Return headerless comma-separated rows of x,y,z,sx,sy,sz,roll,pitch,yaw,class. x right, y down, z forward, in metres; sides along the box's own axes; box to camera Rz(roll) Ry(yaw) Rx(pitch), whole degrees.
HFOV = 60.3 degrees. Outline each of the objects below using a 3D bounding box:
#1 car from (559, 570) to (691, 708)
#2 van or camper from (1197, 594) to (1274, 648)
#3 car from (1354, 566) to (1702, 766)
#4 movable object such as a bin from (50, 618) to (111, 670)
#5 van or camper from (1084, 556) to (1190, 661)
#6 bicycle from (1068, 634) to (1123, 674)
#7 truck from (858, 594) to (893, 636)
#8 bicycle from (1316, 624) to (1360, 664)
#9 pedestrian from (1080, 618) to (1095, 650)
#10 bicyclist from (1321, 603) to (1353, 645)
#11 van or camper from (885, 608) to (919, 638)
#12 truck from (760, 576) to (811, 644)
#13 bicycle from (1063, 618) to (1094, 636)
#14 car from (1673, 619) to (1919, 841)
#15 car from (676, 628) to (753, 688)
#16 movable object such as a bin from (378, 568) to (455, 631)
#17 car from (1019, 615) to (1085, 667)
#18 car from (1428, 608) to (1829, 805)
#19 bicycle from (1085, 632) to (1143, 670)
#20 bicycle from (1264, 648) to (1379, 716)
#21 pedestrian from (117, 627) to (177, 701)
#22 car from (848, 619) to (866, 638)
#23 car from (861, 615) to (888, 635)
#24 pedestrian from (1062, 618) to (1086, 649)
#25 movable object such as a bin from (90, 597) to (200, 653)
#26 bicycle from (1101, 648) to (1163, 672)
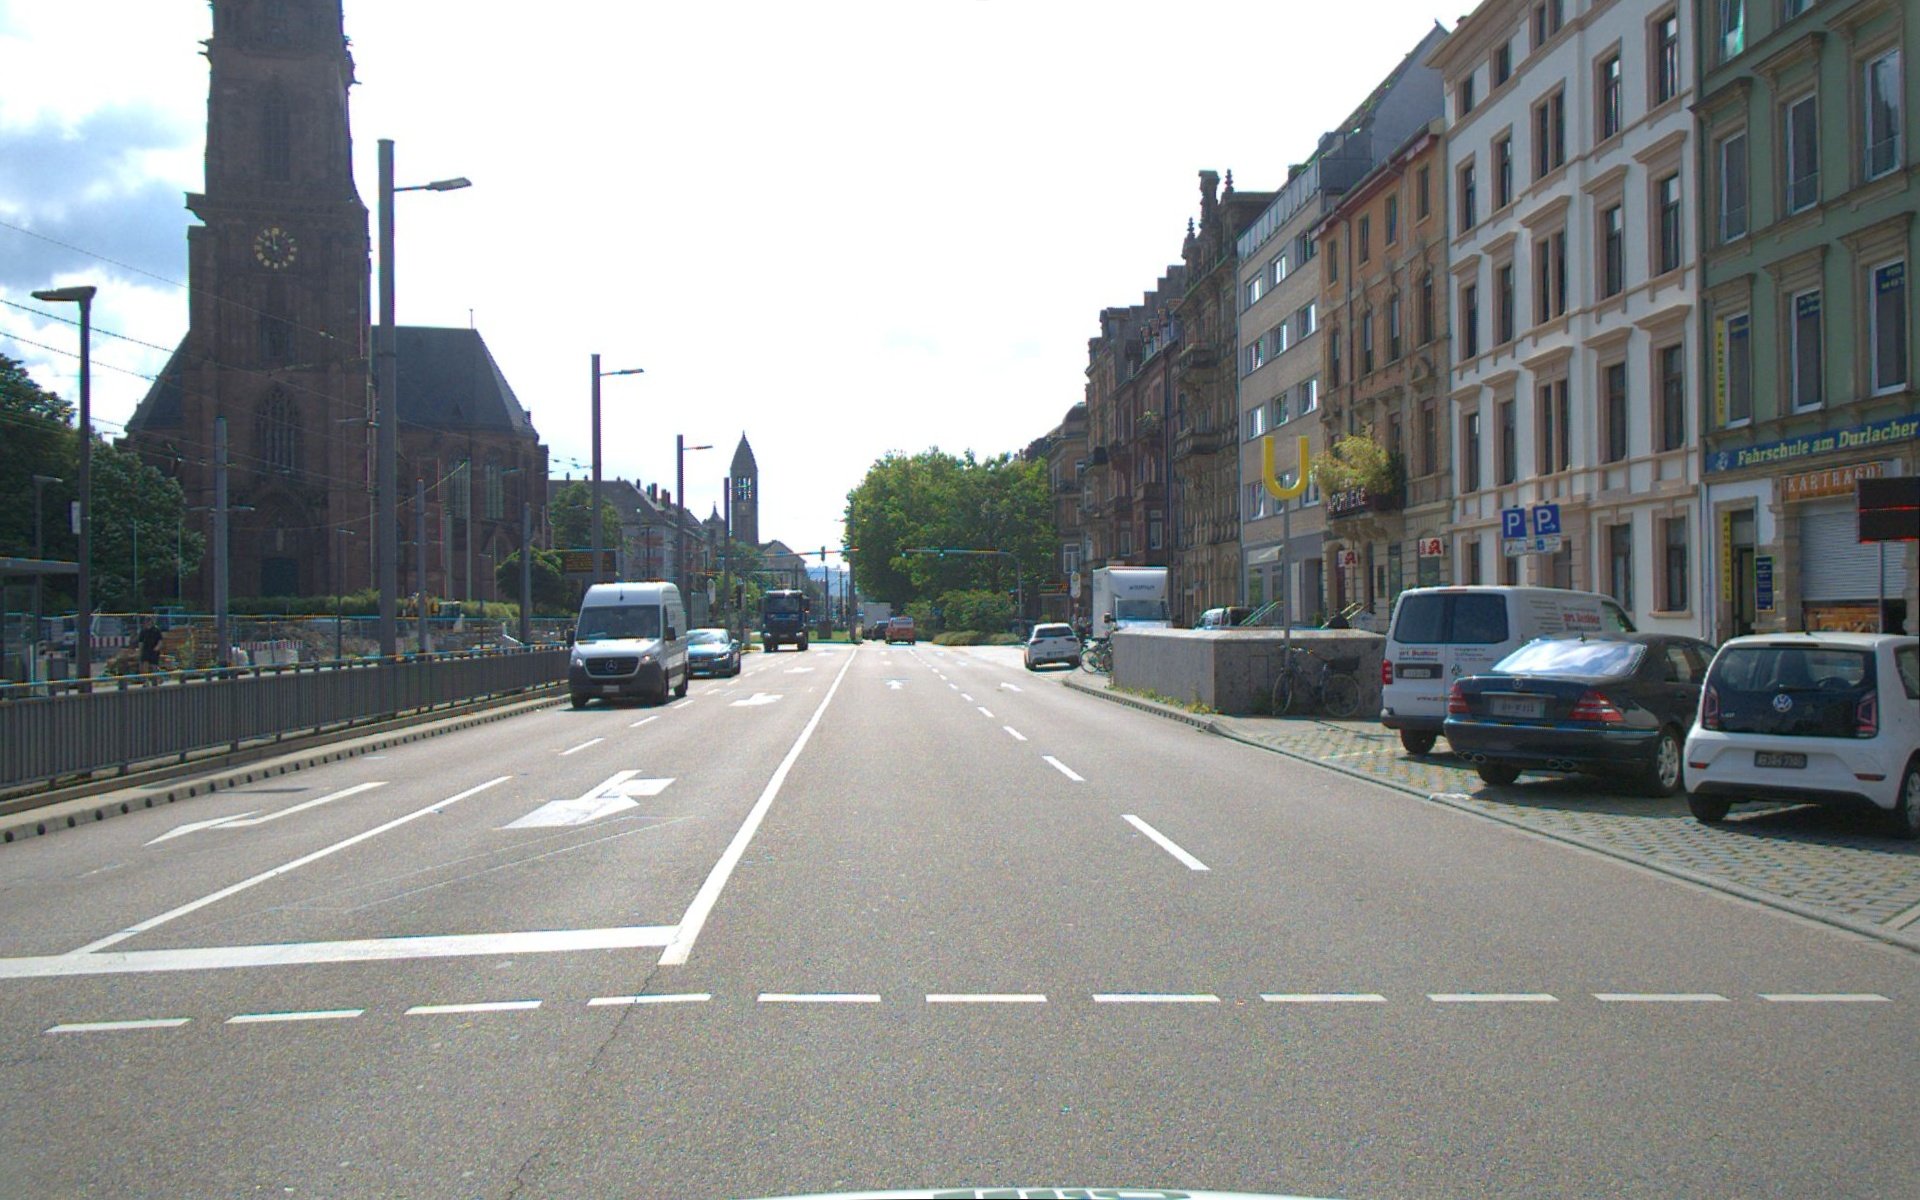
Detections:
-7.196,0.734,36.111,1.954,2.667,5.577,-2,1,-3,car
11.353,0.842,68.448,1.954,1.937,5.295,-3,1,-3,van or camper
7.068,0.686,20.306,4.862,2.121,2.046,-1,2,-44,car
-42.341,2.067,79.702,1.964,2.244,4.247,-1,1,-20,movable object such as a bin
6.073,0.213,57.971,2.657,3.388,7.638,-1,1,-2,van or camper
3.904,1.553,47.643,1.574,1.104,0.370,-1,2,-23,bicycle
-7.569,1.399,148.897,3.106,3.344,7.291,0,-4,-2,truck
10.639,1.250,46.633,0.689,1.066,2.207,1,-3,-1,bicycle
8.570,2.274,110.984,0.868,2.049,0.995,1,0,-3,pedestrian
10.645,0.682,46.685,0.693,1.168,0.813,1,-3,-1,bicyclist
-4.123,1.640,116.450,1.971,1.948,4.515,1,-3,-7,van or camper
-10.101,0.582,96.413,2.414,3.712,7.445,-1,0,-3,truck
8.389,1.893,117.161,2.148,1.201,0.683,-1,1,-8,bicycle
7.265,0.913,13.222,3.485,1.465,1.692,0,1,-44,car
-7.573,1.761,51.350,1.813,1.480,4.553,-2,2,-2,car
-34.267,-0.085,104.469,2.609,3.795,5.597,-1,1,5,movable object such as a bin
3.035,1.328,55.198,1.755,1.462,4.342,-5,1,-1,car
6.661,0.893,16.147,1.859,1.494,5.028,0,1,45,car
4.680,1.545,50.247,1.725,1.104,0.372,0,2,-9,bicycle
5.838,1.321,26.740,1.739,1.021,0.512,2,1,-9,bicycle
-21.232,1.658,43.210,0.976,1.830,1.047,1,3,3,pedestrian
-10.157,2.780,163.235,1.735,1.691,3.996,-1,-4,-3,car
-6.644,1.920,128.651,1.954,1.534,3.996,-1,0,-5,car
5.105,1.502,74.141,0.738,1.339,0.809,1,1,-41,pedestrian
-43.544,1.341,88.459,4.805,2.851,1.999,-1,-1,-3,movable object such as a bin
4.745,1.658,45.713,0.633,0.596,1.743,-2,1,-43,bicycle
